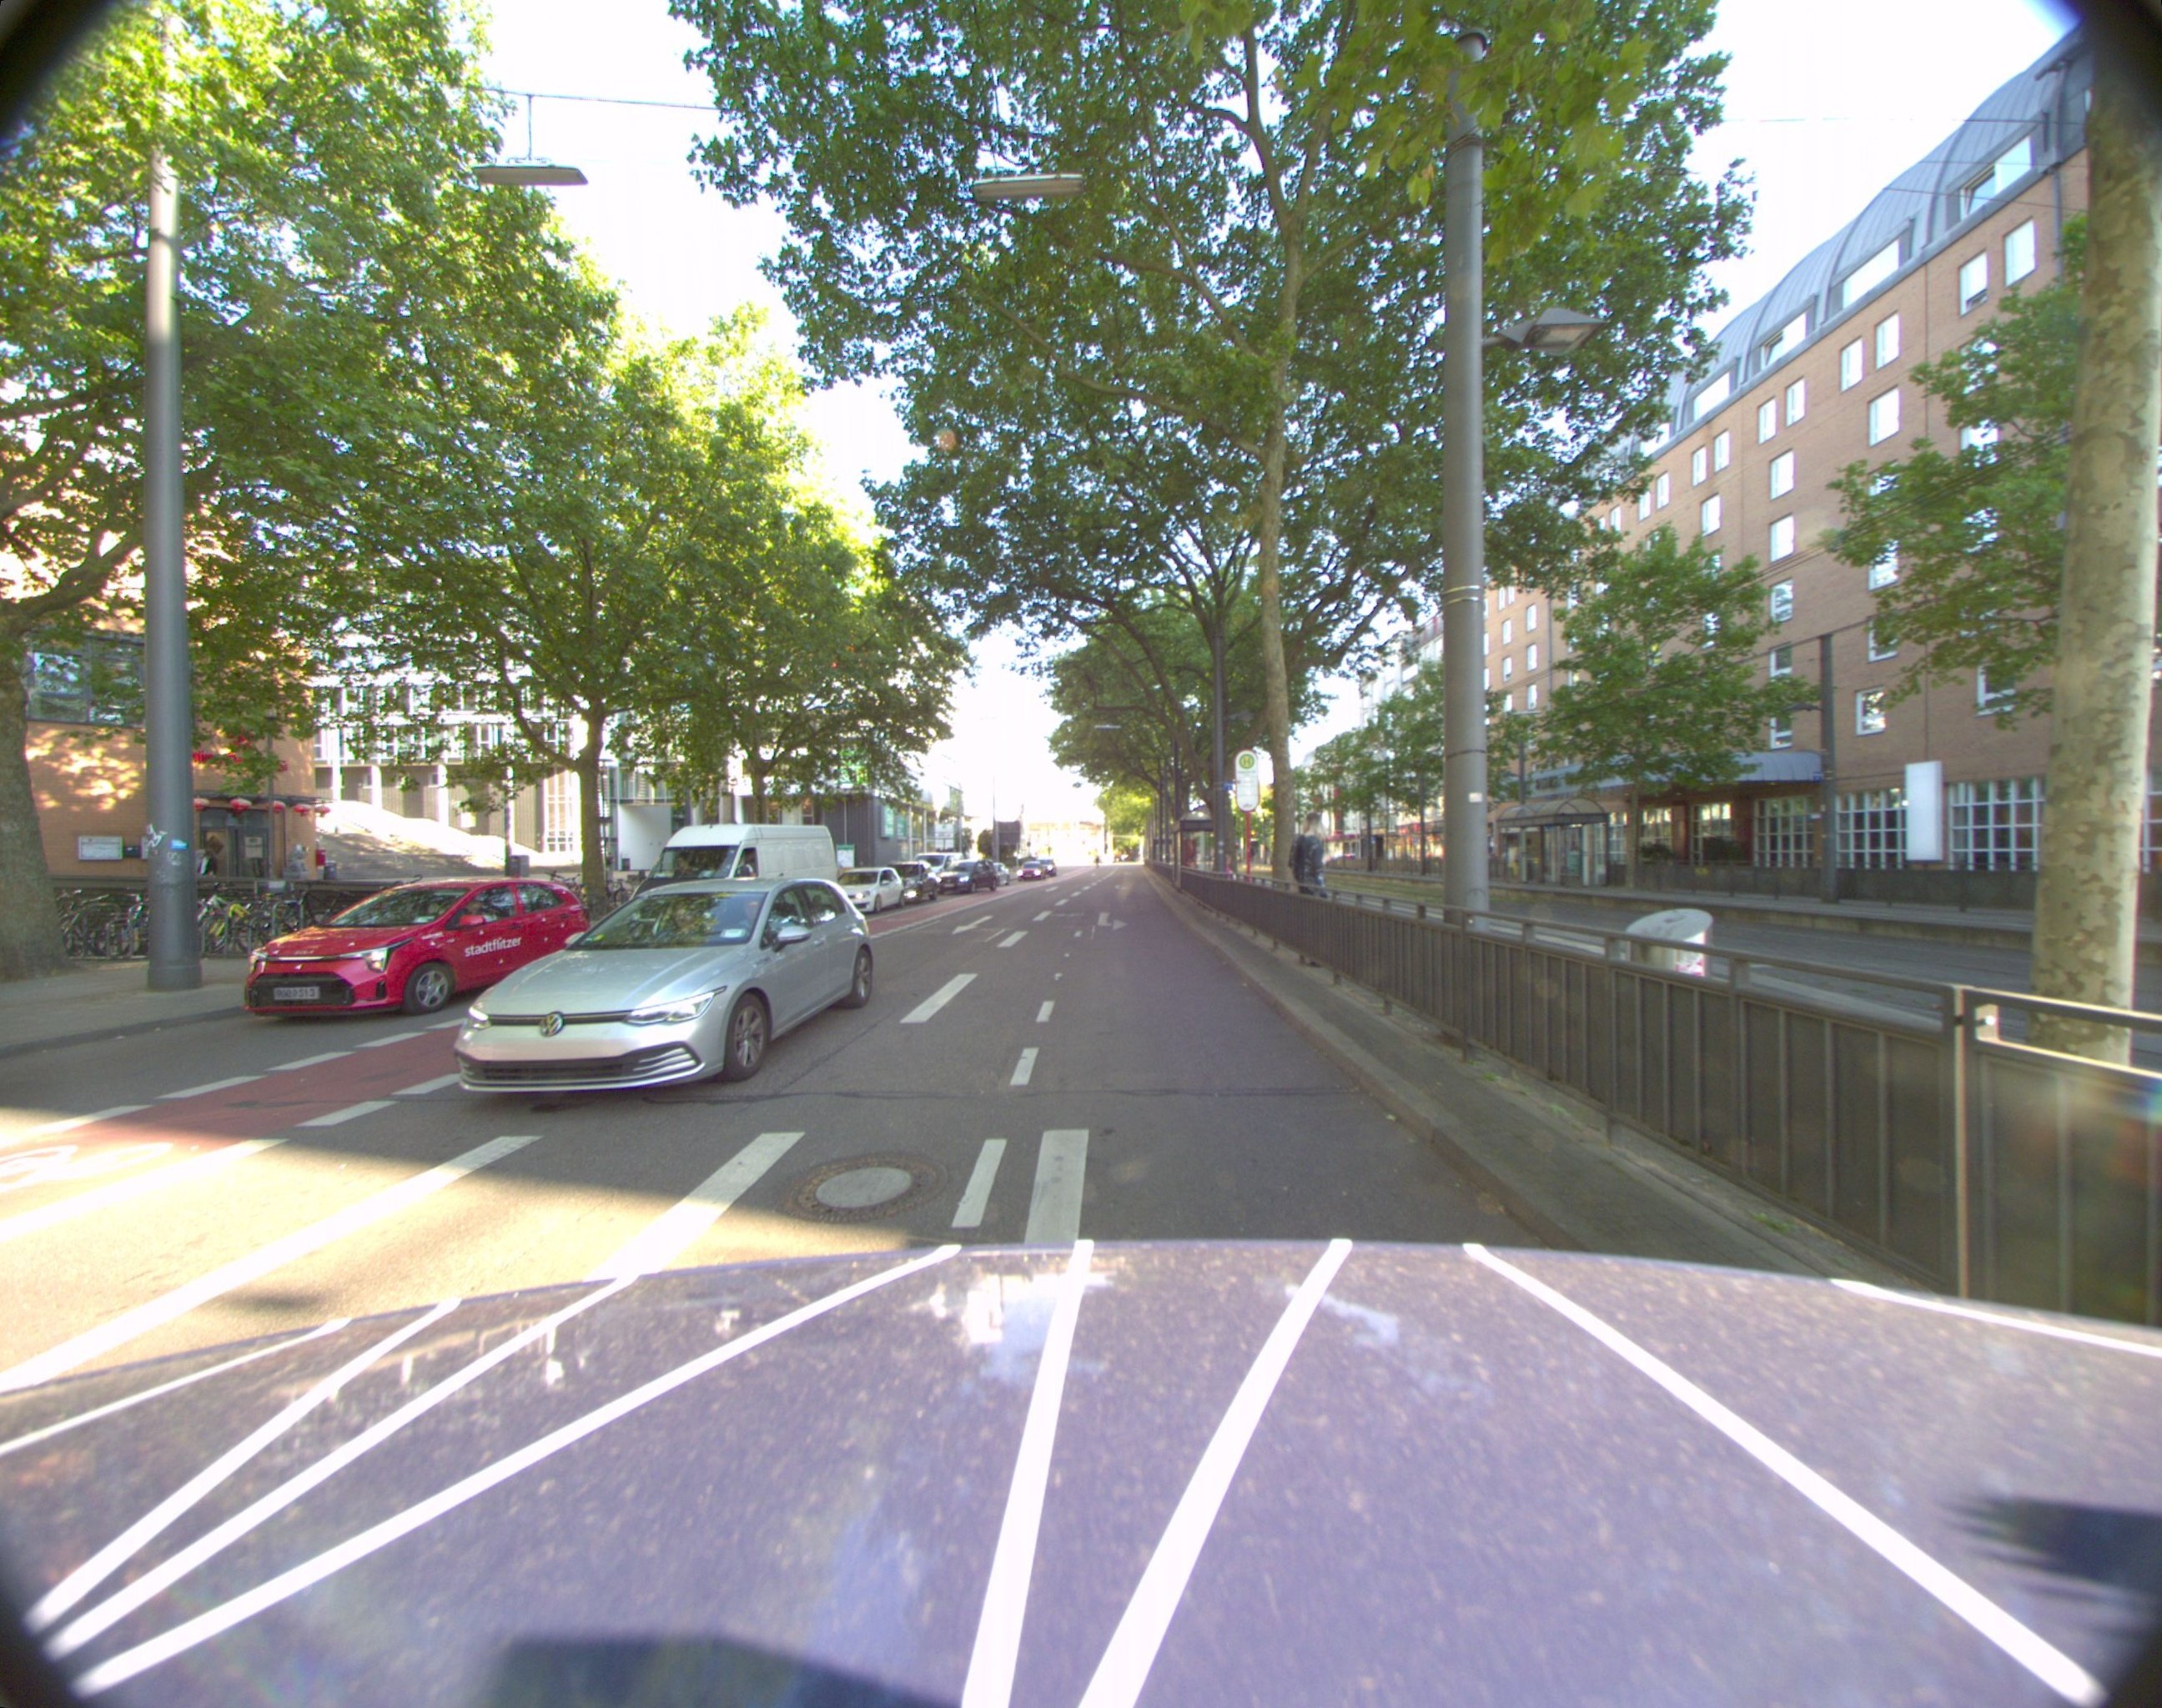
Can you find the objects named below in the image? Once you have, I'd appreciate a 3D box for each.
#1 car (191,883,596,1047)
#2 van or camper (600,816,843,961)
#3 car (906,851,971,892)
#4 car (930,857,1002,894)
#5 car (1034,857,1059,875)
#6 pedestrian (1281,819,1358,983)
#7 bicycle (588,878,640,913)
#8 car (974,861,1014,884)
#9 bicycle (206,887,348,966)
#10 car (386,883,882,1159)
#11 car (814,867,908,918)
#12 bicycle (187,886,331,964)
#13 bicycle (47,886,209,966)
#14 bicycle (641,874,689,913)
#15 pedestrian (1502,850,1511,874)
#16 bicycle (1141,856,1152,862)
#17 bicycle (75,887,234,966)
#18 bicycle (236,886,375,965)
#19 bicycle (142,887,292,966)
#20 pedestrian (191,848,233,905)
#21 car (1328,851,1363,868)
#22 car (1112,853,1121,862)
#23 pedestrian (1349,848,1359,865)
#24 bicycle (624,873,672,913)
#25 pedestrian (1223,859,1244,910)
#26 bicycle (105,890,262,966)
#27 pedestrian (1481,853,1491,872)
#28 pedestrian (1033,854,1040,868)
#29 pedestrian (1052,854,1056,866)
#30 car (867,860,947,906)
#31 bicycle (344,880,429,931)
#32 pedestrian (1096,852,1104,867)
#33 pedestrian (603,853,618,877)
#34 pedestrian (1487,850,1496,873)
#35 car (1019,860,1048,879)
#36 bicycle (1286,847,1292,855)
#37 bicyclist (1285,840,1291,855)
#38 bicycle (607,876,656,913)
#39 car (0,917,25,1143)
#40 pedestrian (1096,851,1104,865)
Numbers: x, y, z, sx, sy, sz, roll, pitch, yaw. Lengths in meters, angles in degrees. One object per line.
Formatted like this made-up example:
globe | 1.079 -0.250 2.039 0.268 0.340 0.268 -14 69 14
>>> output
car | -7.965 1.168 9.339 1.606 1.449 3.651 -1 0 0
van or camper | -7.539 0.624 17.048 1.998 2.563 6.575 -2 0 3
car | -7.490 0.862 40.399 1.965 1.983 4.960 -1 0 7
car | -5.517 1.014 37.170 1.964 1.610 4.335 -1 0 14
car | -3.000 1.041 67.491 1.801 1.438 4.001 0 0 3
pedestrian | 2.852 0.524 9.093 0.624 1.873 0.605 -3 3 -23
bicycle | -15.220 1.333 24.797 0.516 1.027 1.850 0 0 1
car | -5.492 1.165 48.383 1.801 1.369 4.001 0 0 3
bicycle | -13.820 1.205 13.138 0.448 1.187 1.850 0 0 1
car | -3.196 1.082 6.536 1.733 1.432 4.000 -2 0 2
car | -7.048 1.191 24.782 1.682 1.420 4.001 -1 0 3
bicycle | -14.325 1.201 13.328 0.484 1.187 1.850 0 0 1
bicycle | -16.386 1.199 13.142 0.435 1.187 1.850 0 0 1
bicycle | -13.572 1.269 24.845 0.522 1.187 1.850 0 0 1
pedestrian | 27.706 0.517 49.441 0.438 1.511 0.659 0 1 23
bicycle | 9.864 0.806 114.316 1.670 0.879 0.581 -1 1 -1
bicycle | -15.923 1.204 13.139 0.458 1.187 1.850 0 0 1
bicycle | -13.317 1.194 13.132 0.482 1.187 1.850 0 0 1
bicycle | -14.842 1.200 13.128 0.447 1.187 1.850 0 0 1
pedestrian | -31.596 0.814 27.631 0.875 2.025 0.586 -1 1 6
car | 24.013 0.477 69.090 1.760 1.479 4.309 -1 0 2
car | 8.347 0.771 180.263 1.998 2.002 4.000 -1 0 0
pedestrian | 31.360 0.284 87.322 0.806 2.002 0.763 -1 1 1
bicycle | -14.115 1.256 24.824 0.495 1.187 1.850 0 0 1
pedestrian | 3.932 0.776 19.628 0.500 1.308 0.419 0 1 8
bicycle | -15.425 1.237 13.137 0.485 1.118 1.850 0 0 1
pedestrian | 30.723 0.615 57.667 0.519 1.427 0.516 -1 1 4
pedestrian | -5.182 0.823 88.502 0.648 1.644 0.643 -1 1 1
pedestrian | -3.689 0.799 103.616 0.611 1.644 0.583 -1 1 1
car | -6.734 1.084 29.849 1.818 1.610 4.229 -1 0 5
bicycle | -17.863 1.287 19.595 0.517 1.187 1.790 0 0 1
pedestrian | 2.626 0.710 104.187 0.772 2.002 0.831 -2 1 17
pedestrian | -30.040 0.702 48.491 0.719 1.549 0.639 -1 1 -35
pedestrian | 26.880 0.464 49.743 0.438 1.497 0.659 0 1 23
car | -3.636 1.153 58.627 1.801 1.369 4.001 0 0 3
bicycle | 27.303 -0.423 99.844 0.451 0.998 1.753 -1 0 6
bicyclist | 27.211 -0.830 99.785 0.572 1.893 0.813 0 1 6
bicycle | -14.659 1.307 24.822 0.522 1.088 1.797 0 0 1
car | -7.990 1.171 2.972 1.743 1.476 4.251 -1 0 0
pedestrian | 2.666 0.561 106.766 0.772 2.002 0.831 -2 1 21
